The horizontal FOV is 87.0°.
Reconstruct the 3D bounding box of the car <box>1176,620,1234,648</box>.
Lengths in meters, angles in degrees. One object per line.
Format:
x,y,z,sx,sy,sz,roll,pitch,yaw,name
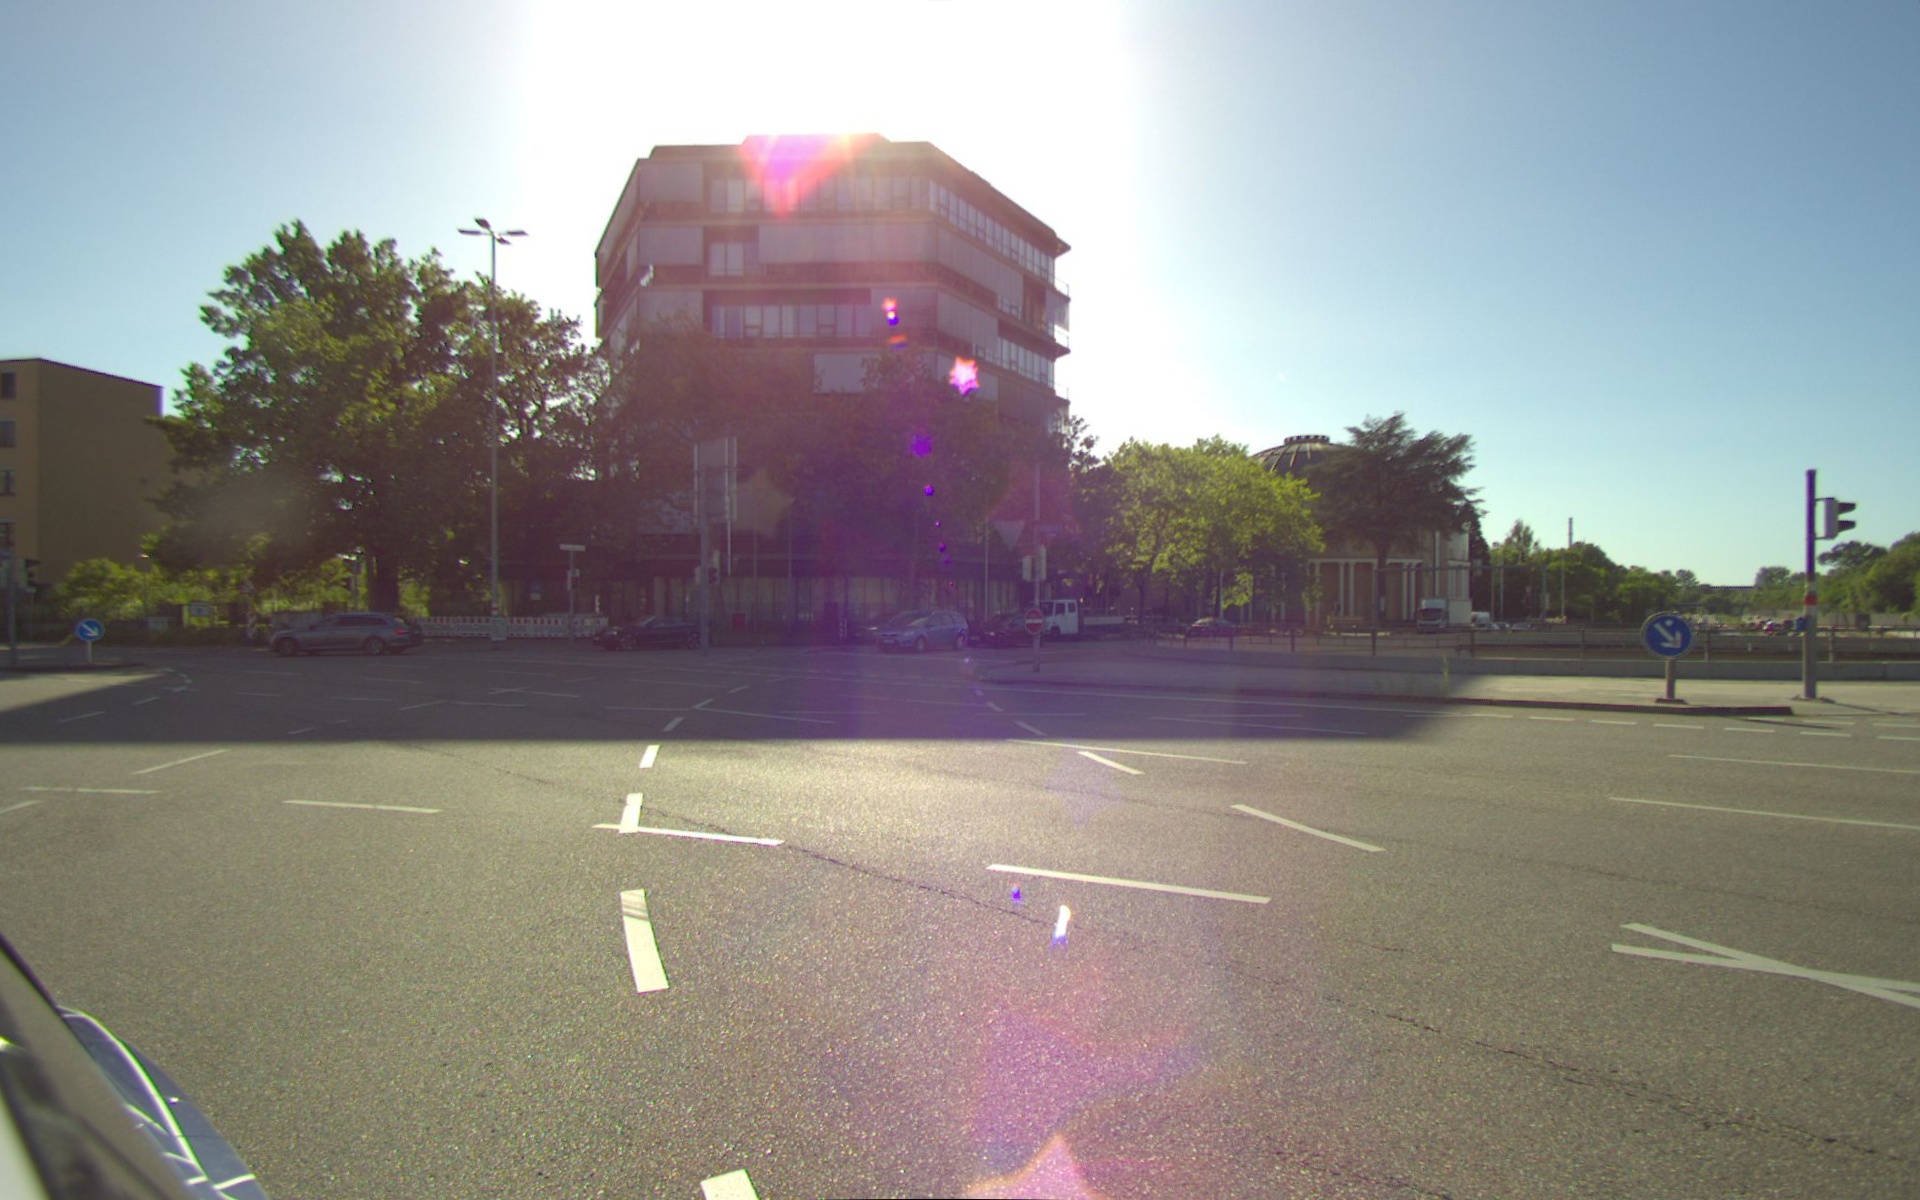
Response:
16.300,2.218,67.239,1.816,1.713,4.135,-1,0,45,car

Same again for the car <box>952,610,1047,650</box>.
1.730,1.226,42.961,1.948,1.552,4.404,-1,0,36,car

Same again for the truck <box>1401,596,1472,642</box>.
43.820,1.673,92.916,3.849,3.825,9.224,-1,1,38,truck

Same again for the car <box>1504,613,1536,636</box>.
54.560,2.368,98.540,1.999,2.028,3.947,2,2,40,car

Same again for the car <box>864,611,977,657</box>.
-1.424,1.233,38.163,1.948,1.552,4.404,-1,0,36,car

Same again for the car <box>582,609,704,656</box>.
-12.300,1.215,39.399,4.131,1.713,1.817,0,0,-41,car

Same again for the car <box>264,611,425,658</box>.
-21.391,1.210,35.336,4.437,1.368,1.883,-3,-4,-8,car

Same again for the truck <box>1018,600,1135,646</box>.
6.666,1.234,57.079,7.398,2.378,2.167,0,-1,-42,truck

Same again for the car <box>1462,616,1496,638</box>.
45.743,2.350,89.136,1.739,1.696,3.997,2,2,40,car

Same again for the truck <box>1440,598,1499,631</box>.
51.294,1.431,101.790,3.849,3.039,7.650,-1,1,38,truck

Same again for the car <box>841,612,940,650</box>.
-3.224,1.416,47.783,4.439,1.657,1.883,0,-1,-42,car
